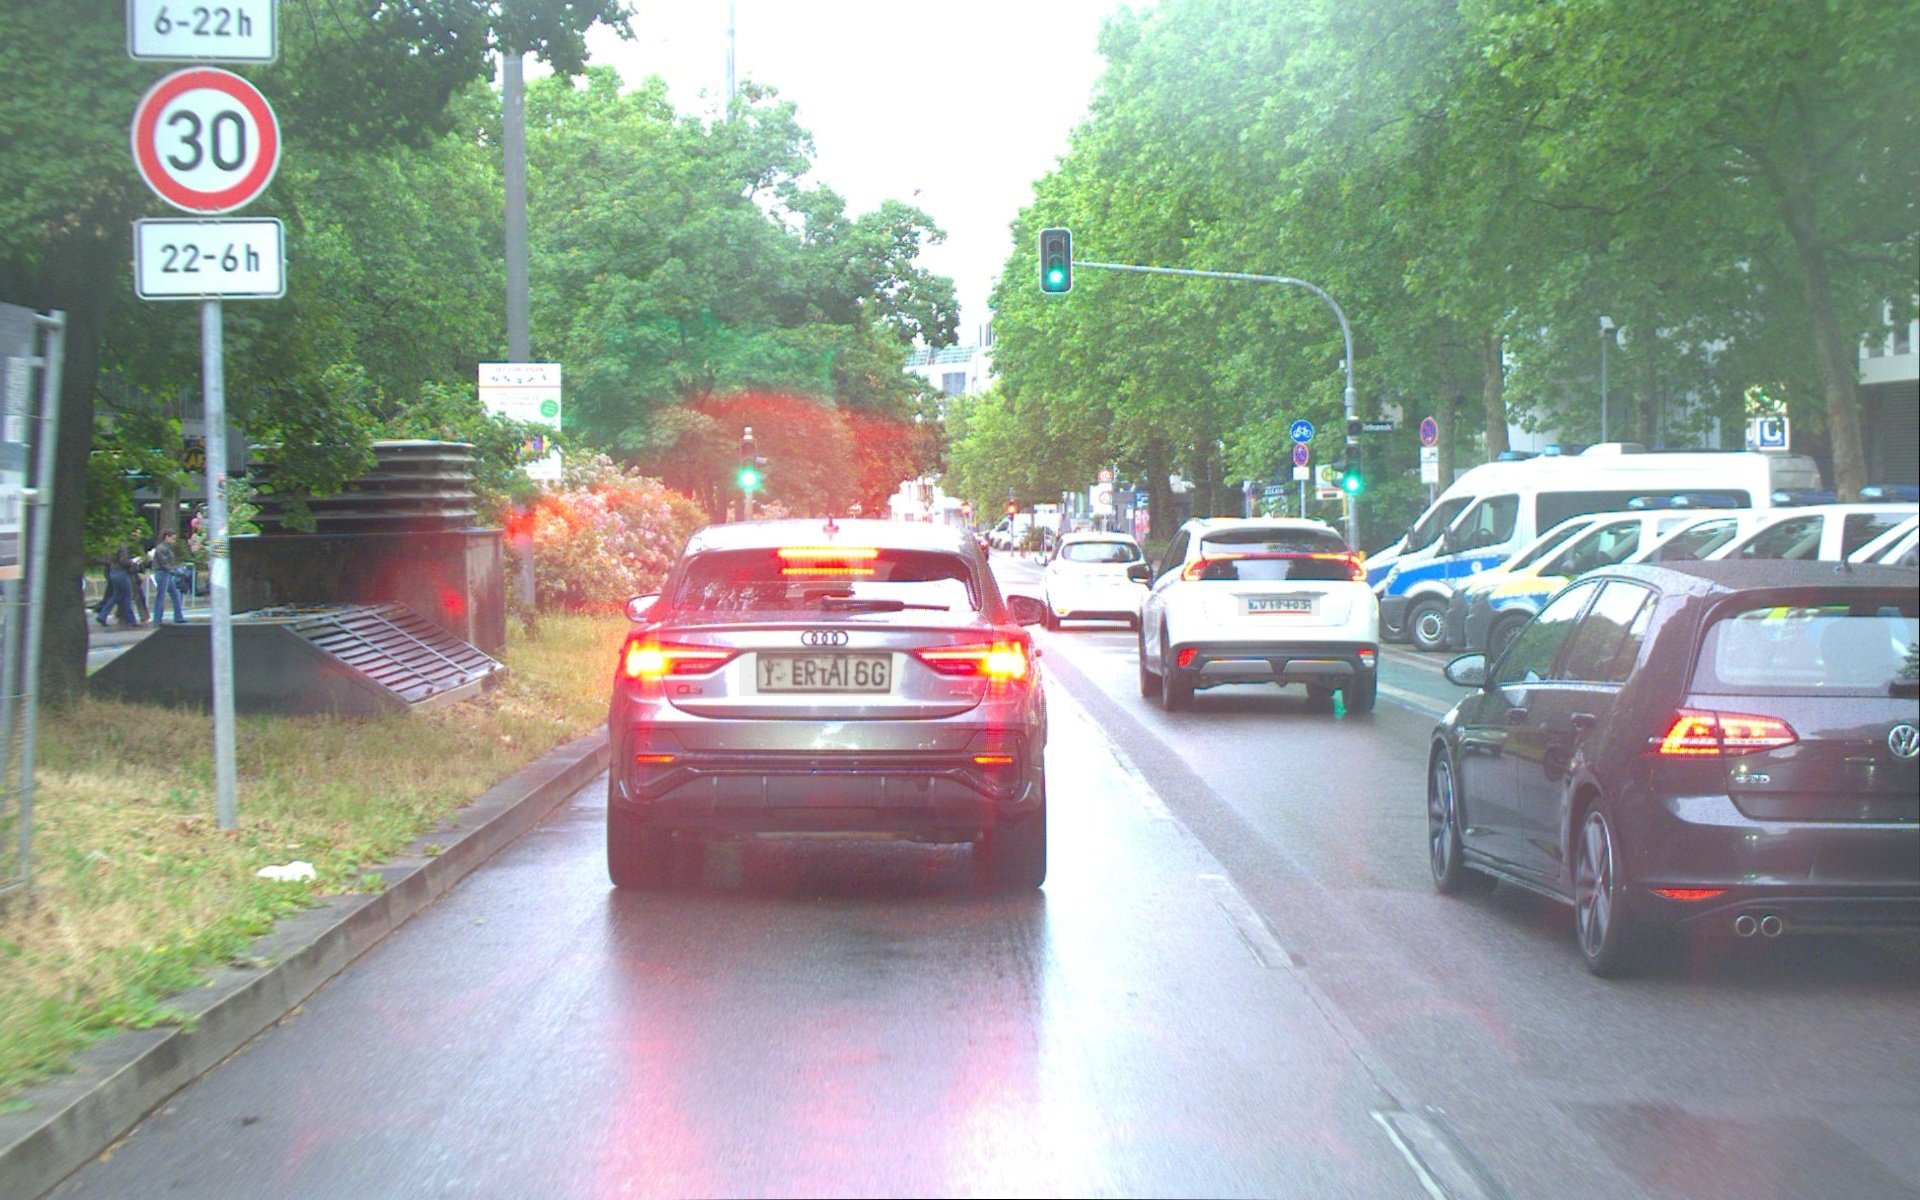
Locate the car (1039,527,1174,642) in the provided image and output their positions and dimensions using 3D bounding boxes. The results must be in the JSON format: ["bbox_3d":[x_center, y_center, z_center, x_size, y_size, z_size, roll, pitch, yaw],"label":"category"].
[{"bbox_3d":[2.330,-0.290,55.562,1.993,1.744,4.000,-1,2,0],"label":"car"}]

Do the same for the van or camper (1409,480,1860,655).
[{"bbox_3d":[8.156,-0.384,41.794,5.011,2.007,1.996,0,0,35],"label":"van or camper"}]

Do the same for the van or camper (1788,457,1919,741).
[{"bbox_3d":[8.494,-0.002,24.183,4.789,2.004,1.996,1,1,36],"label":"van or camper"}]

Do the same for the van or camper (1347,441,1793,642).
[{"bbox_3d":[8.489,-0.834,48.176,5.810,2.668,2.143,1,1,37],"label":"van or camper"}]

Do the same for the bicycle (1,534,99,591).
[{"bbox_3d":[-18.473,-0.764,69.803,1.844,1.132,0.566,-1,2,-6],"label":"bicycle"}]

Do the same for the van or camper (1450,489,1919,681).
[{"bbox_3d":[8.252,-0.205,38.144,5.203,1.985,1.996,1,1,34],"label":"van or camper"}]

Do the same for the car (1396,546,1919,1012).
[{"bbox_3d":[2.896,0.535,12.923,1.765,1.408,4.001,-1,2,-3],"label":"car"}]

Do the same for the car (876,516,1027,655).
[{"bbox_3d":[-0.119,-0.213,41.483,1.721,1.572,3.962,0,2,-1],"label":"car"}]

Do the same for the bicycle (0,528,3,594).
[{"bbox_3d":[-18.985,-0.736,65.066,1.617,1.237,0.510,-1,1,-7],"label":"bicycle"}]

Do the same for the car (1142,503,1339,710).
[{"bbox_3d":[2.393,0.013,29.827,1.433,1.679,2.979,-1,2,0],"label":"car"}]

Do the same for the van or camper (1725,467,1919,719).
[{"bbox_3d":[8.862,-0.070,27.400,5.017,1.988,1.996,0,1,32],"label":"van or camper"}]

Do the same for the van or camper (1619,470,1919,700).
[{"bbox_3d":[8.772,-0.160,31.188,5.102,2.018,2.101,1,2,37],"label":"van or camper"}]

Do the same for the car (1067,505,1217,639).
[{"bbox_3d":[2.447,-0.422,47.032,1.822,1.744,4.000,-1,2,0],"label":"car"}]

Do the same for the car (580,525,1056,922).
[{"bbox_3d":[-0.522,0.435,15.725,1.863,1.527,4.527,0,2,1],"label":"car"}]

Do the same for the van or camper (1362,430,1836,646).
[{"bbox_3d":[8.313,-0.805,45.046,5.805,2.671,1.996,0,2,35],"label":"van or camper"}]
